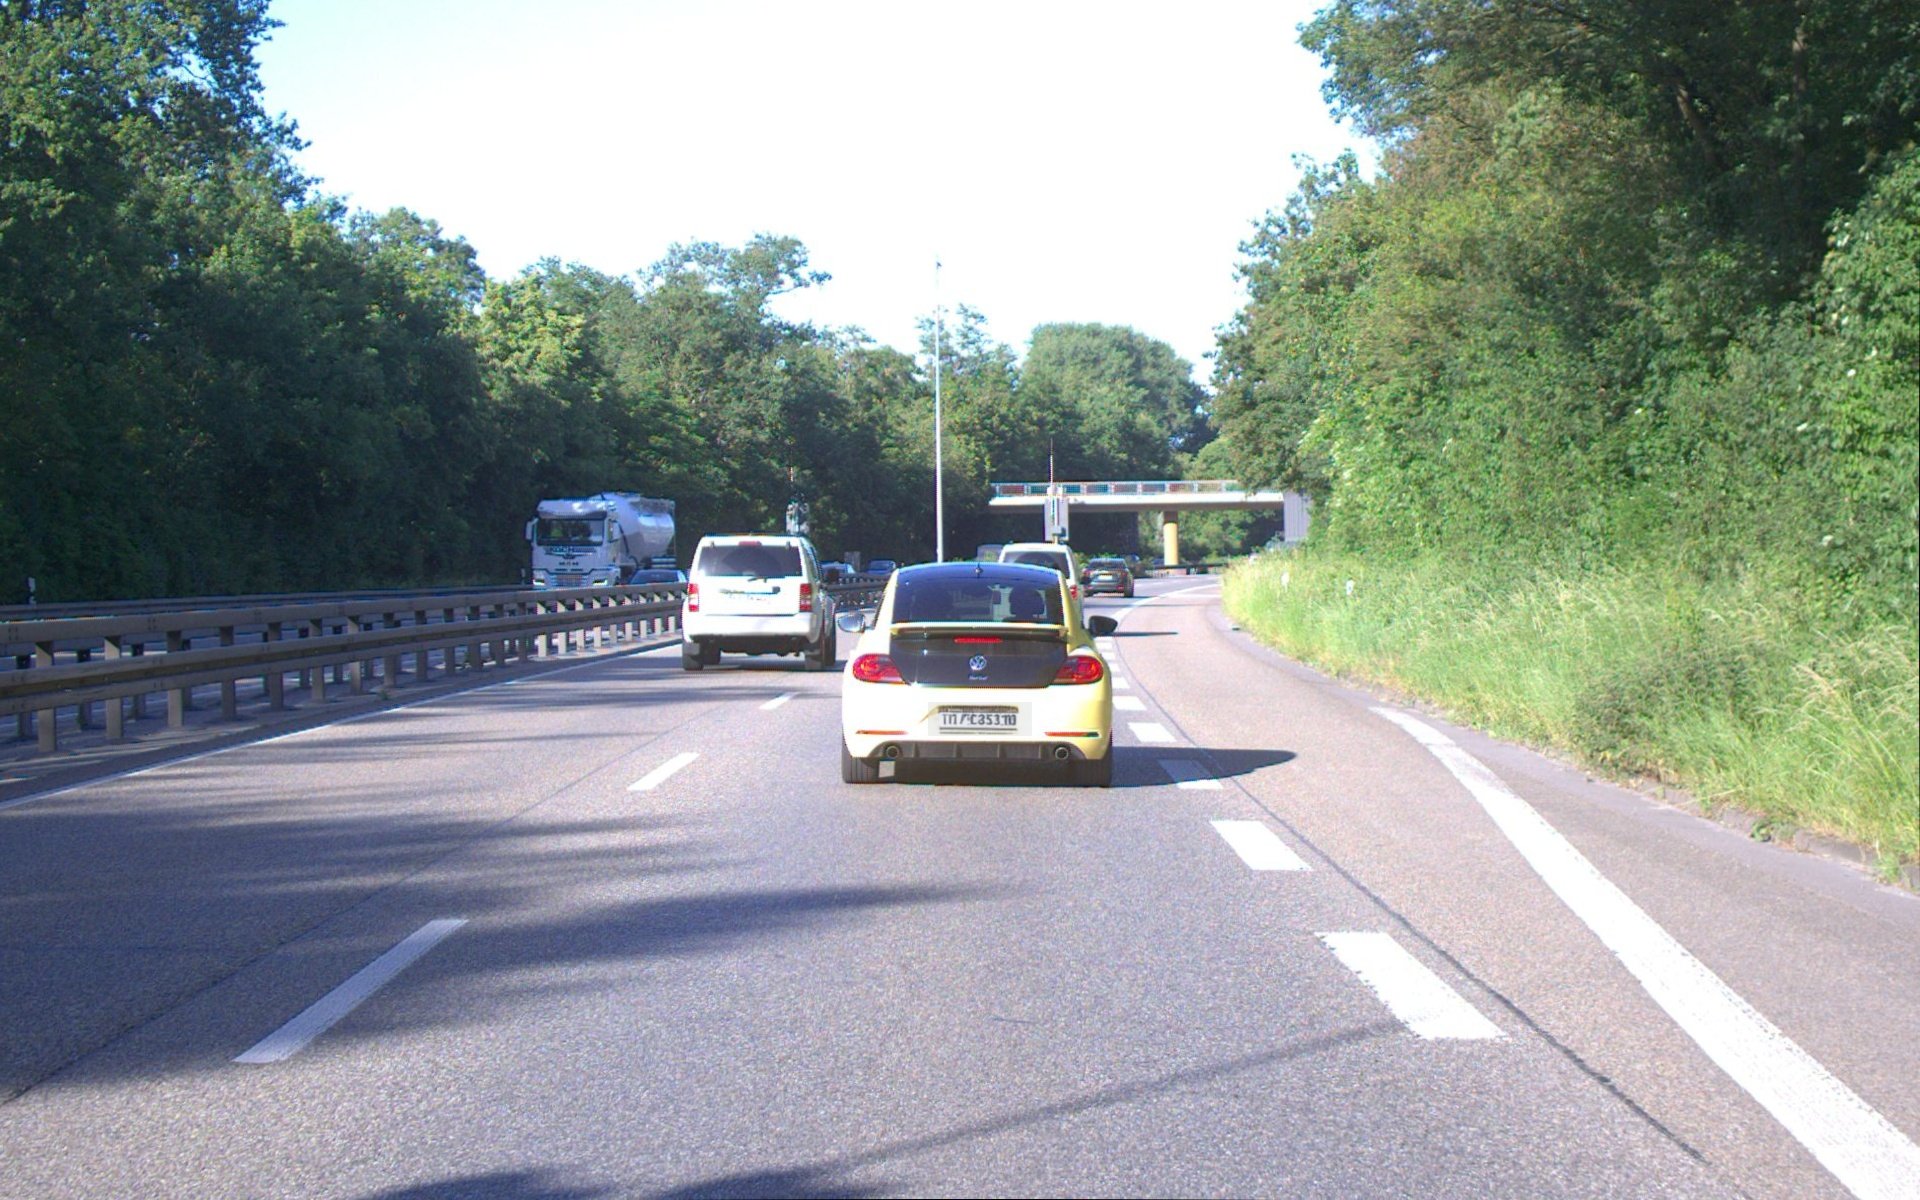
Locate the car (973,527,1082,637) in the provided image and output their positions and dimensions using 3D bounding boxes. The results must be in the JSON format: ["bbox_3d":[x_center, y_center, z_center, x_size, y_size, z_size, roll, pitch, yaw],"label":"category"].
[{"bbox_3d":[1.348,-0.378,66.909,1.993,2.007,4.000,-2,1,2],"label":"car"}]

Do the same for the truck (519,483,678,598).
[{"bbox_3d":[-11.822,-1.974,113.795,2.889,3.509,11.950,-2,1,5],"label":"truck"}]

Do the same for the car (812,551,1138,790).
[{"bbox_3d":[0.027,0.427,23.522,1.939,1.503,3.423,1,1,-4],"label":"car"}]

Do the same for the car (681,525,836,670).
[{"bbox_3d":[-2.629,-0.058,45.569,1.741,1.823,3.422,1,1,2],"label":"car"}]

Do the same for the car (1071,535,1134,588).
[{"bbox_3d":[5.390,-1.480,130.624,2.263,1.869,5.076,-2,1,2],"label":"car"}]
